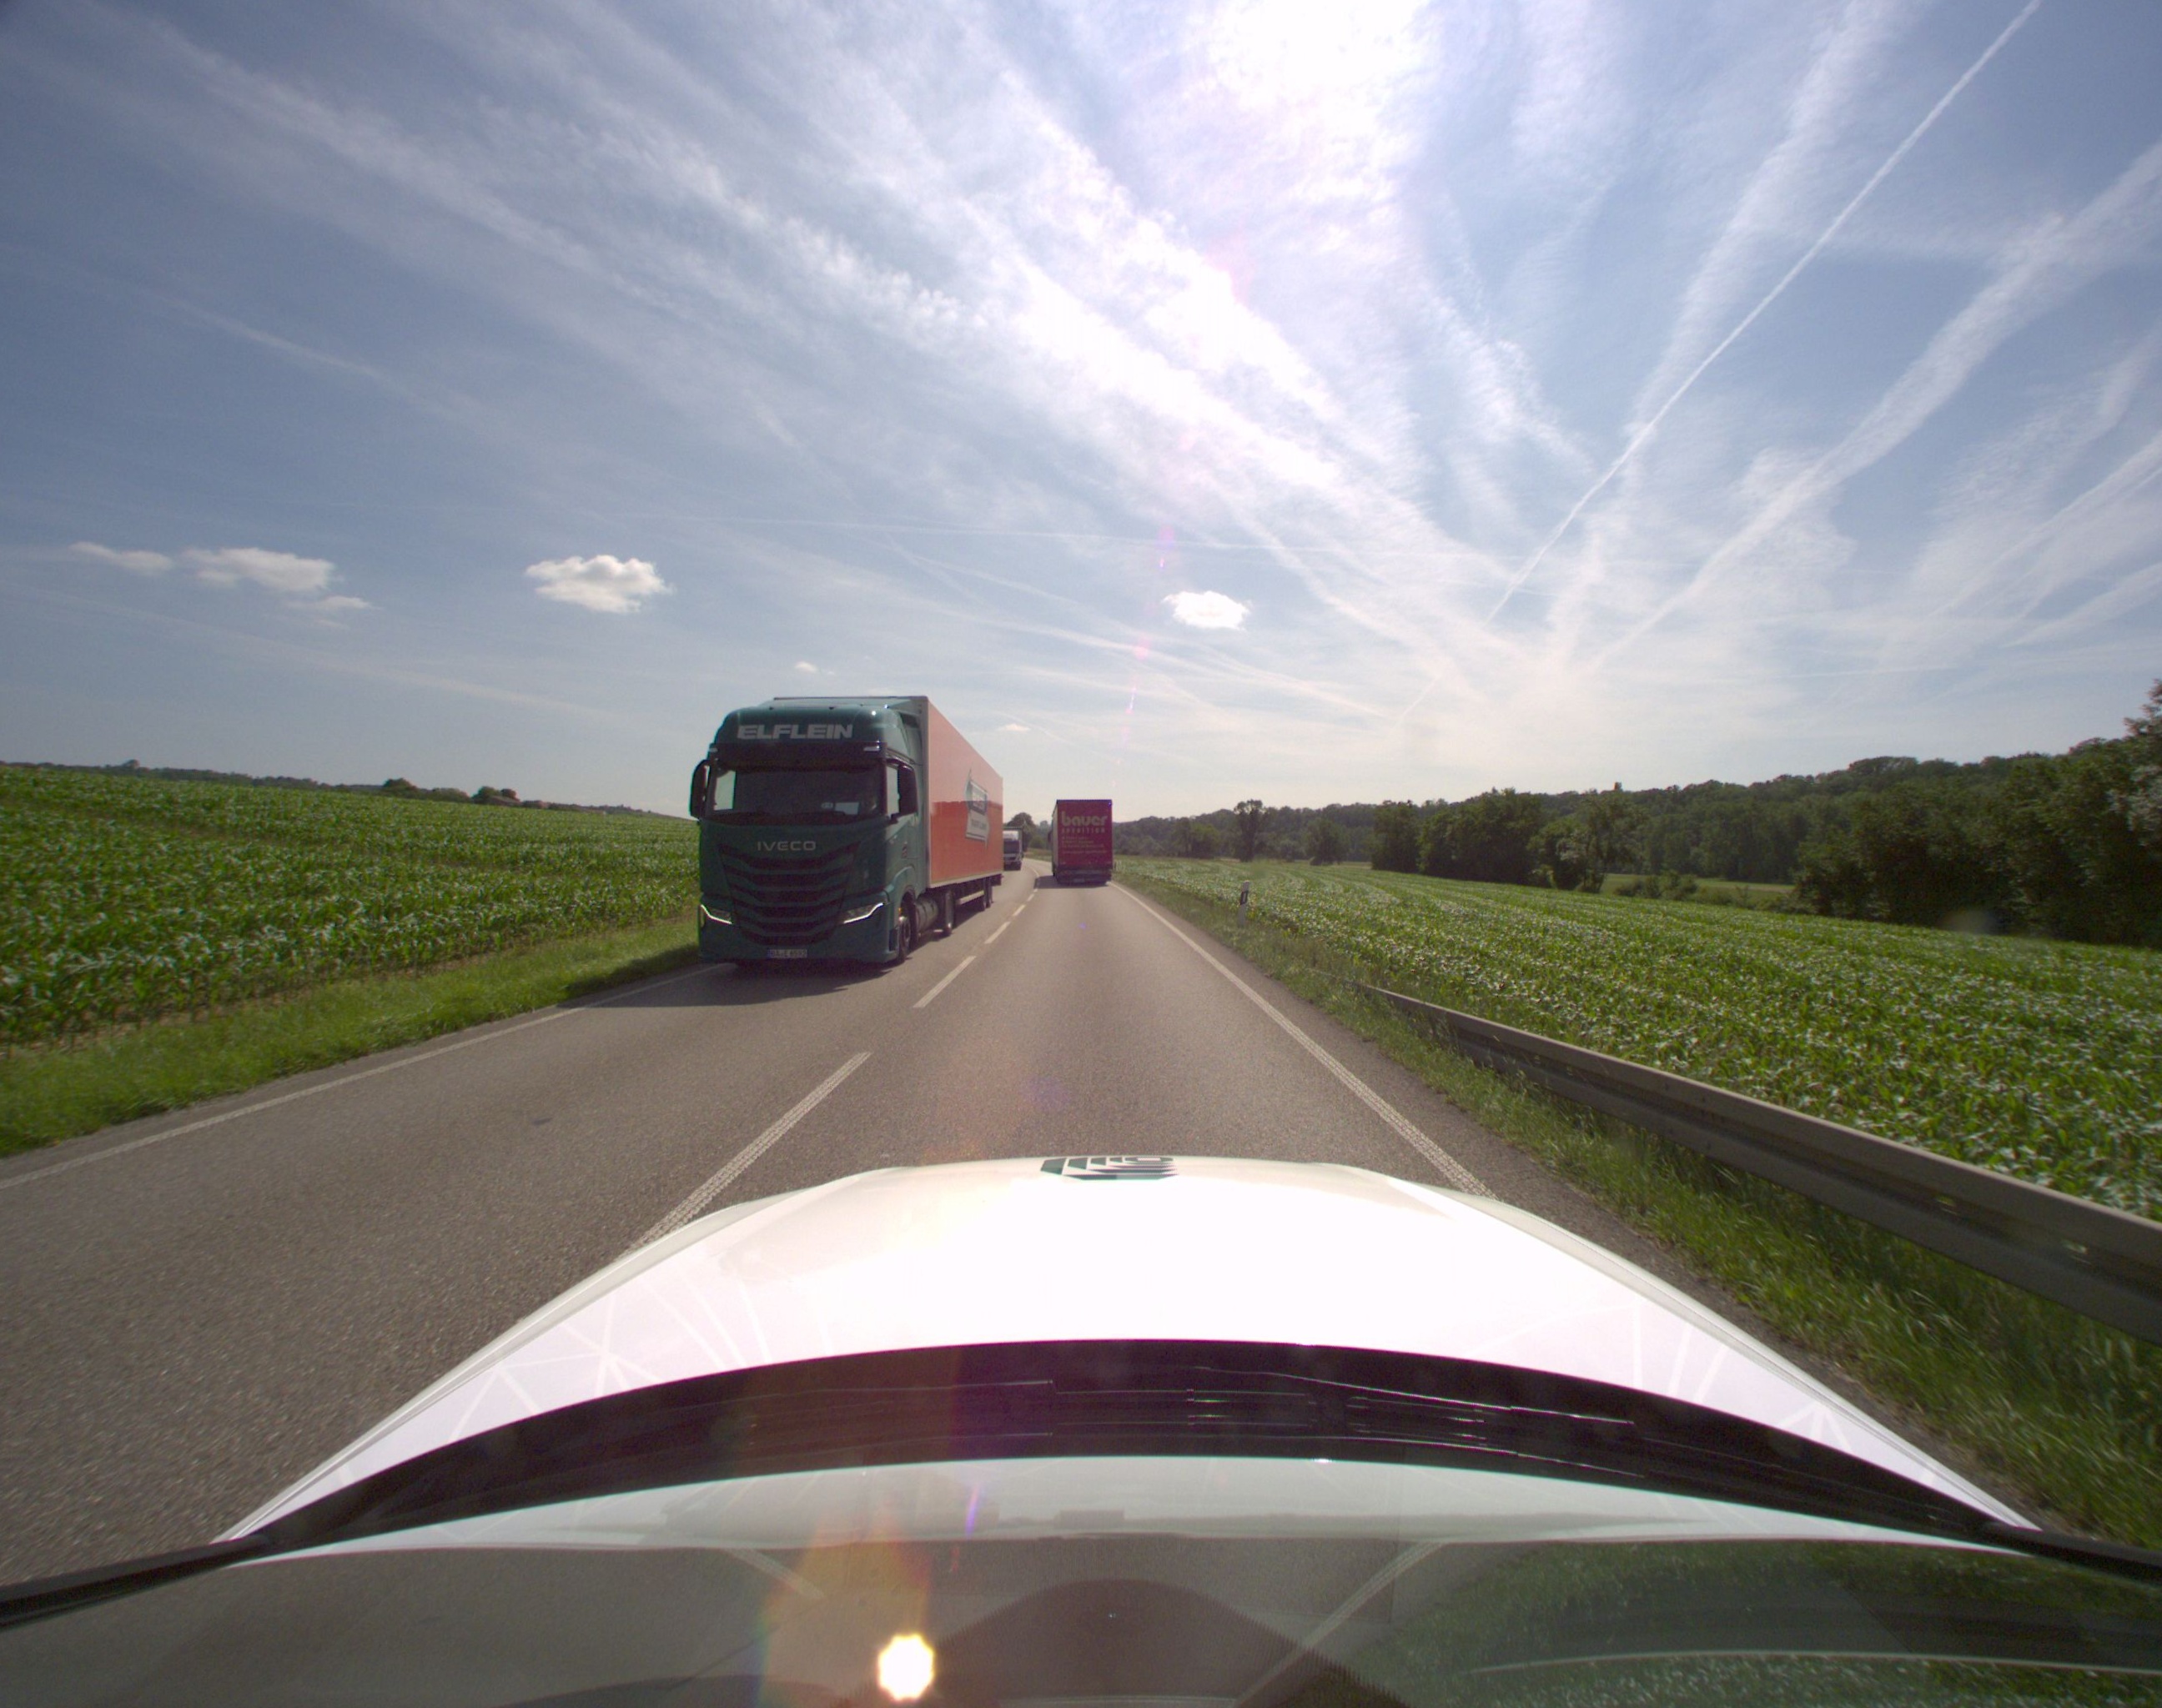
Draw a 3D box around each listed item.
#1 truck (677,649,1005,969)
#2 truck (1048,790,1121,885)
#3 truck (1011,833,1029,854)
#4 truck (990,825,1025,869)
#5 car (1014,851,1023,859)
[{"bbox_3d":[-3.793,-0.608,18.752,2.763,3.998,17.019,-1,0,-1],"label":"truck"},{"bbox_3d":[-0.008,-0.735,40.911,3.088,4.263,8.302,0,0,-4],"label":"truck"},{"bbox_3d":[-13.248,-2.225,176.338,3.634,4.292,11.963,-1,-1,-5],"label":"truck"},{"bbox_3d":[-6.336,-0.629,71.443,2.735,3.578,9.715,-1,0,-3],"label":"truck"},{"bbox_3d":[-11.645,0.221,151.479,1.579,1.501,3.868,-1,0,-6],"label":"car"}]
